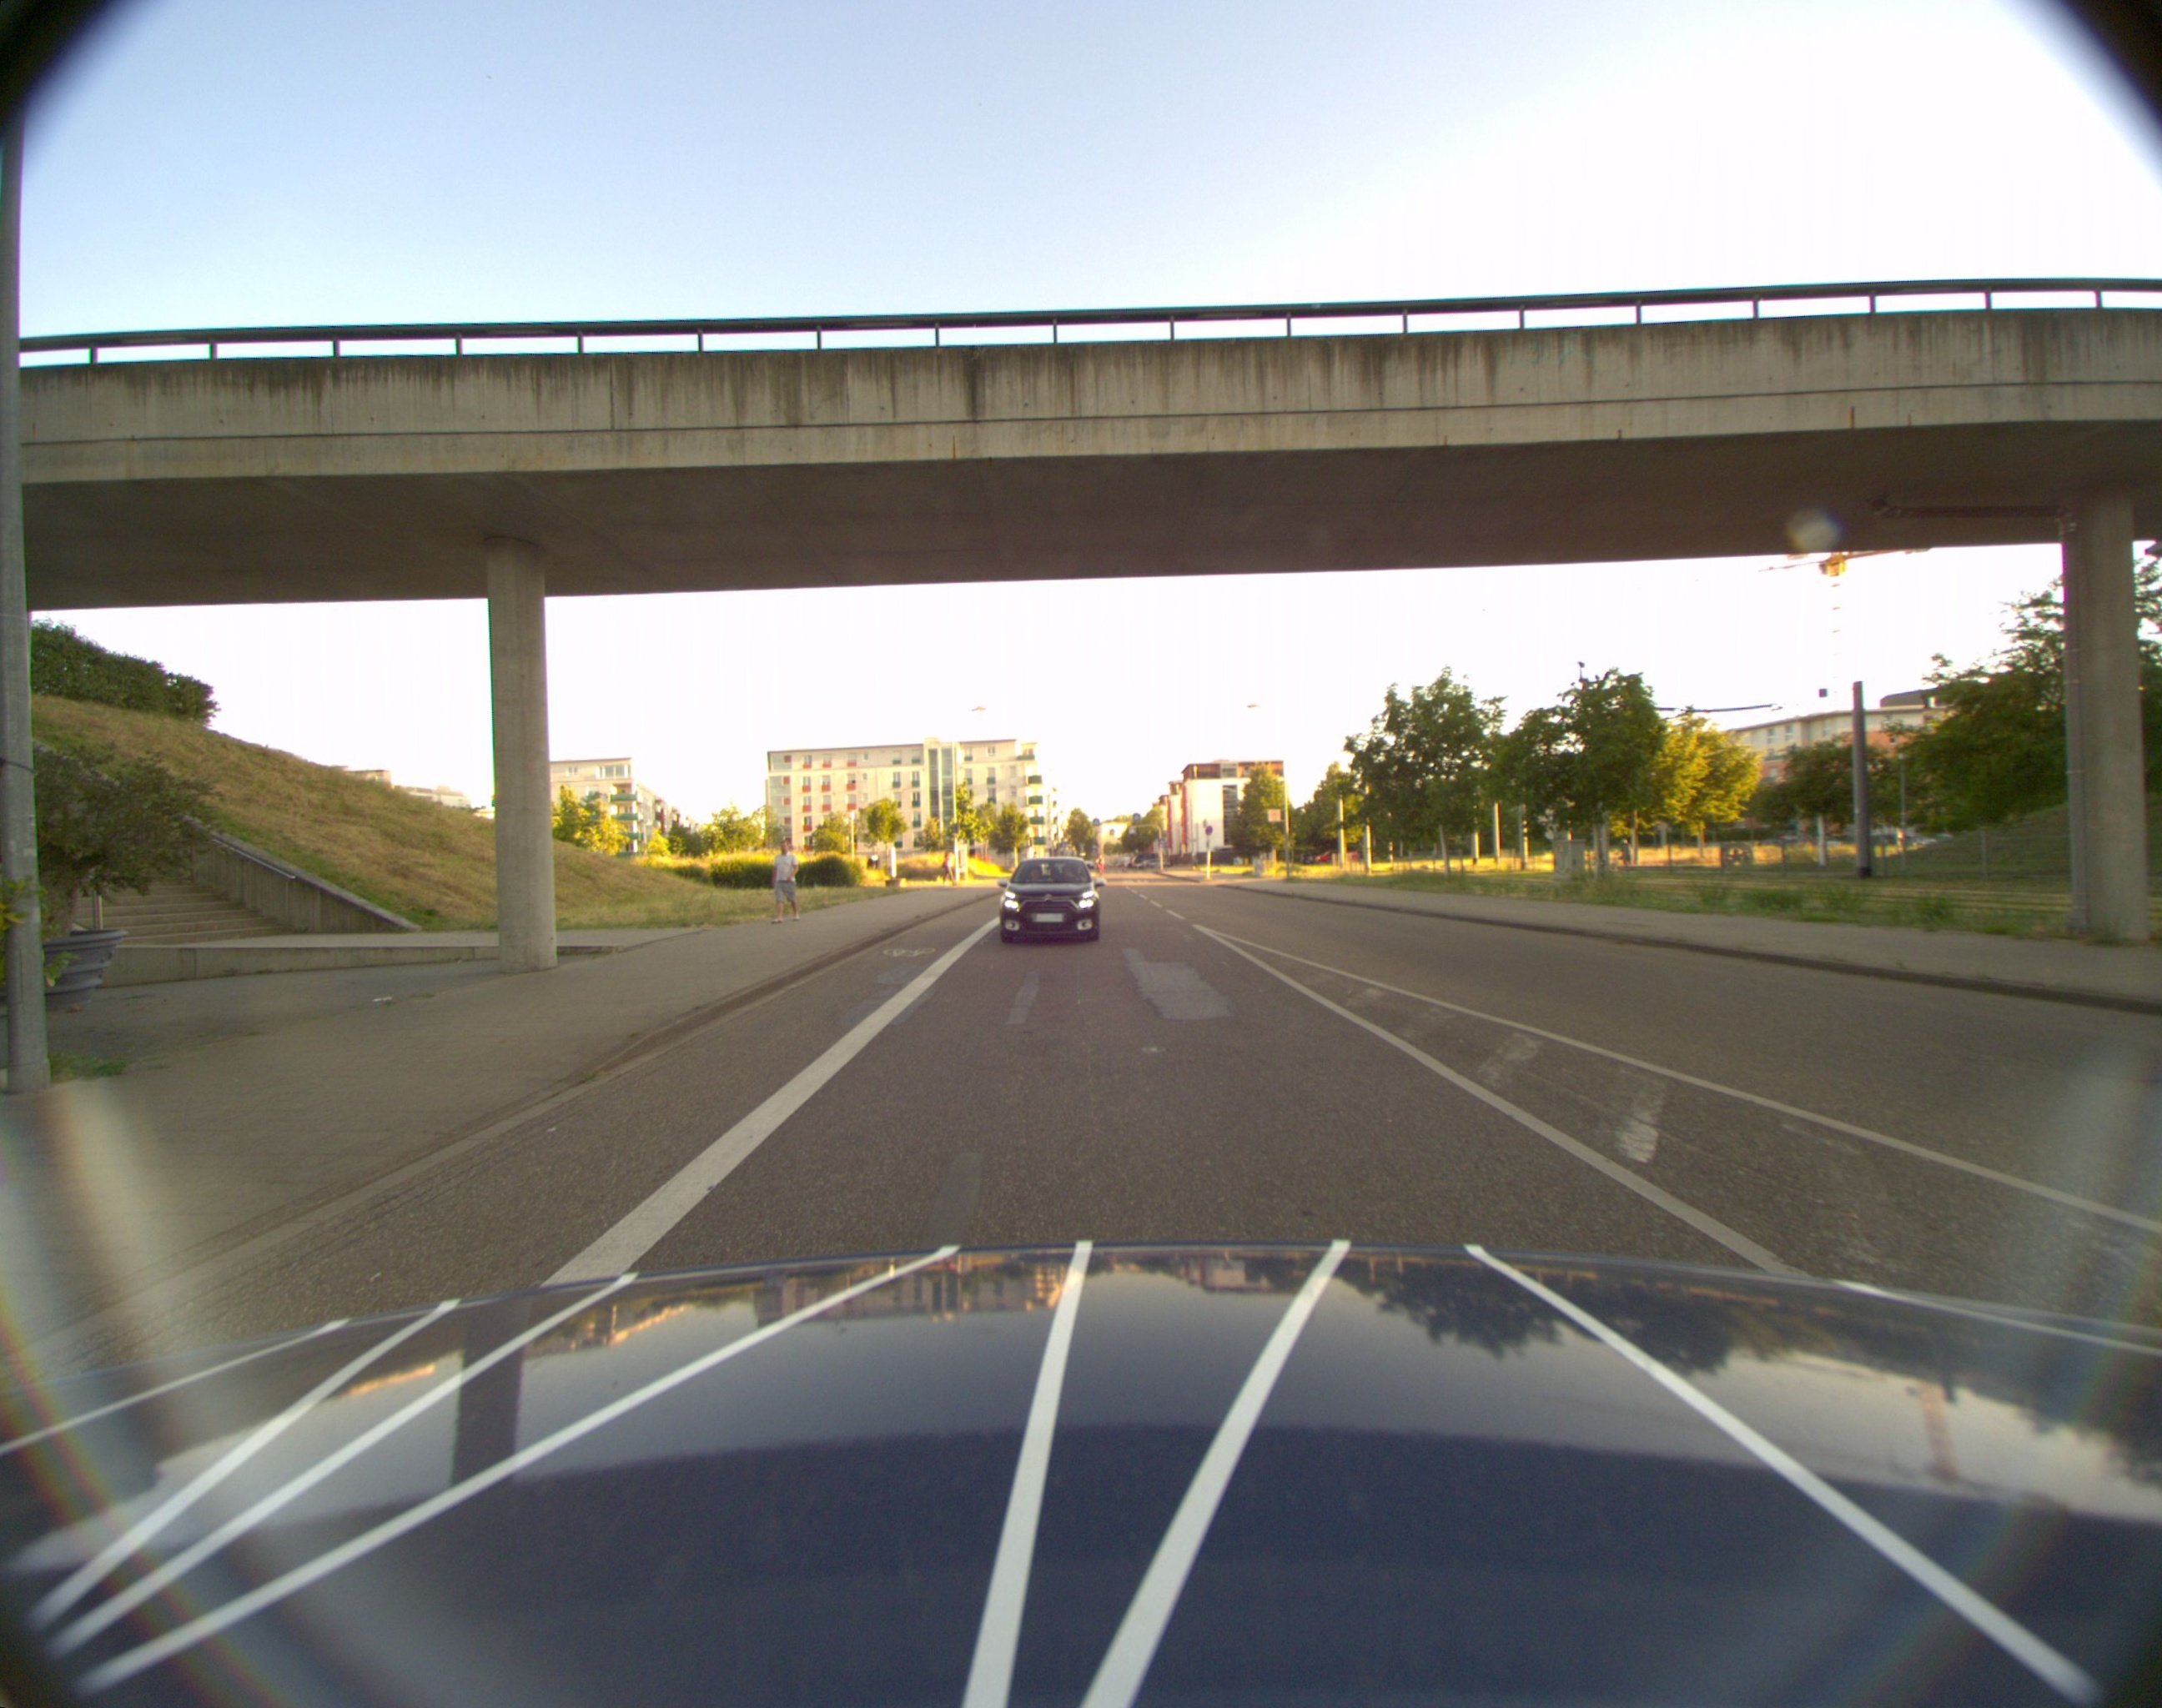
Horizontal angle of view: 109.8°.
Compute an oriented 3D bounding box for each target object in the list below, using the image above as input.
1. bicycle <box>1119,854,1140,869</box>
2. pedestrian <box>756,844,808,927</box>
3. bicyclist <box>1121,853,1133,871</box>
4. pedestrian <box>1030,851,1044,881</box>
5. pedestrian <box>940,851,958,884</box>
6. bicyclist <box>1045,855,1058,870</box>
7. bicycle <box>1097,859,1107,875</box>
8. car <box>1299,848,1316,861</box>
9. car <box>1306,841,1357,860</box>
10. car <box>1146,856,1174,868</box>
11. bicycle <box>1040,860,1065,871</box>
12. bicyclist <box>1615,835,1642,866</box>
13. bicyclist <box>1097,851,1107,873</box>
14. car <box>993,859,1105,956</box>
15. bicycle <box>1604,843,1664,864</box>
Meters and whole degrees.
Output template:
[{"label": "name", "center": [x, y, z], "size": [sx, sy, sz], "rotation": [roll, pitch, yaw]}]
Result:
[{"label": "bicycle", "center": [5.170, 0.777, 80.957], "size": [0.885, 1.483, 3.327], "rotation": [-2, 0, 28]}, {"label": "pedestrian", "center": [-6.339, 0.645, 16.152], "size": [0.737, 1.714, 0.906], "rotation": [0, 0, 1]}, {"label": "bicyclist", "center": [4.851, 0.797, 80.153], "size": [0.881, 1.865, 1.036], "rotation": [-2, 0, 29]}, {"label": "pedestrian", "center": [-2.608, 0.701, 44.969], "size": [0.737, 1.714, 0.532], "rotation": [0, 0, 1]}, {"label": "pedestrian", "center": [-6.677, 0.678, 38.565], "size": [0.737, 1.620, 0.859], "rotation": [0, 0, 2]}, {"label": "bicyclist", "center": [-3.321, 0.945, 84.723], "size": [0.934, 1.585, 1.065], "rotation": [-2, 0, -36]}, {"label": "bicycle", "center": [1.662, 0.982, 59.500], "size": [0.662, 1.217, 2.440], "rotation": [-2, 0, 4]}, {"label": "car", "center": [28.925, 0.059, 97.151], "size": [1.942, 1.521, 4.004], "rotation": [-2, 0, 14]}, {"label": "car", "center": [30.012, -0.427, 91.226], "size": [5.518, 2.002, 2.001], "rotation": [-2, 0, 10]}, {"label": "car", "center": [11.852, 1.213, 114.075], "size": [3.996, 1.718, 2.000], "rotation": [-2, 0, 2]}, {"label": "bicycle", "center": [-3.219, 1.276, 84.683], "size": [0.902, 1.142, 3.490], "rotation": [-2, 0, -36]}, {"label": "bicyclist", "center": [29.743, -0.188, 41.304], "size": [0.910, 1.622, 0.717], "rotation": [-2, 0, -5]}, {"label": "bicyclist", "center": [1.624, 0.622, 59.526], "size": [0.697, 1.630, 0.852], "rotation": [-2, 0, 3]}, {"label": "car", "center": [-0.473, 0.865, 14.051], "size": [1.739, 1.455, 4.000], "rotation": [-2, 0, 1]}, {"label": "bicycle", "center": [30.084, -0.033, 41.326], "size": [2.842, 1.002, 0.655], "rotation": [-2, 0, -3]}]
